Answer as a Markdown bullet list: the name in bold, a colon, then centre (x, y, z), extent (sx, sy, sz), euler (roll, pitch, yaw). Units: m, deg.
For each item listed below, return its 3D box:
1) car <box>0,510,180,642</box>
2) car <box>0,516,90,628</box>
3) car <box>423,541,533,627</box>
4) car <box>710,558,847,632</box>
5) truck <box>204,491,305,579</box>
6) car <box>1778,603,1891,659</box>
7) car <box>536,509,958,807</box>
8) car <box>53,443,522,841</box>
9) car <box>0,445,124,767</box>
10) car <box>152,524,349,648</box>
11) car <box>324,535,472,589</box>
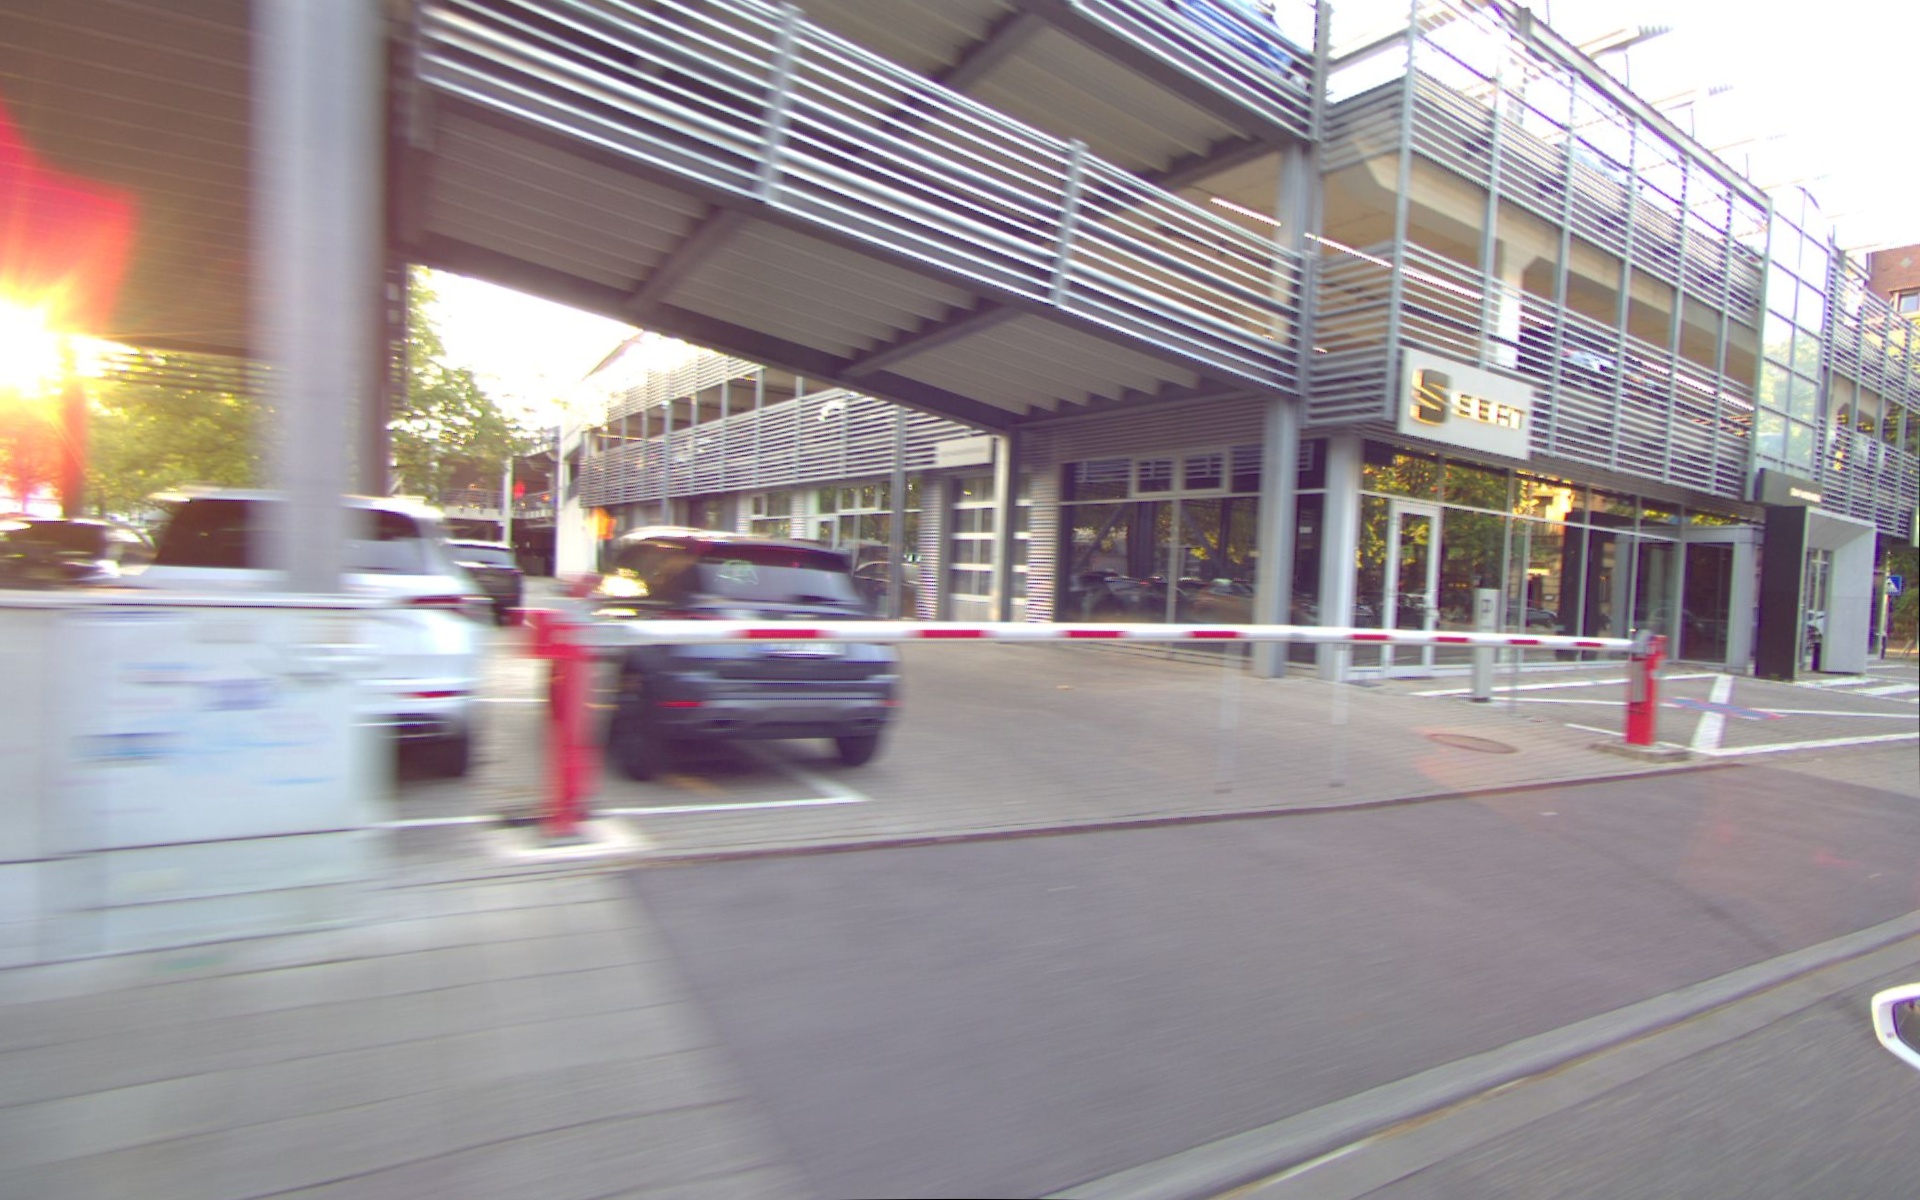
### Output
- **car**: centre (-11.958, -0.358, 13.367), extent (1.837, 1.515, 4.034), euler (1, 2, -28)
- **car**: centre (-16.250, -0.519, 16.699), extent (1.837, 1.706, 4.130), euler (1, 2, -28)
- **car**: centre (-9.948, -0.356, 20.596), extent (1.837, 1.575, 3.963), euler (1, 2, -28)
- **car**: centre (-4.273, -0.195, 23.254), extent (1.768, 1.493, 3.805), euler (-2, 4, -33)
- **truck**: centre (-24.153, -2.195, 34.630), extent (2.418, 2.603, 6.877), euler (2, 2, -32)
- **car**: centre (27.577, 0.982, 31.648), extent (4.182, 1.571, 1.690), euler (2, 2, -35)
- **car**: centre (-1.861, 0.284, 7.581), extent (1.839, 1.607, 3.965), euler (4, 1, -31)
- **car**: centre (-4.037, 0.115, 6.537), extent (1.837, 1.706, 4.062), euler (1, 2, -28)
- **car**: centre (-6.114, 0.003, 5.292), extent (1.837, 1.706, 4.069), euler (1, 2, -28)
- **car**: centre (-10.057, -0.240, 14.555), extent (1.808, 1.515, 4.211), euler (1, 2, -28)
- **car**: centre (-19.622, -1.316, 35.085), extent (4.342, 1.595, 2.282), euler (2, 2, -34)
